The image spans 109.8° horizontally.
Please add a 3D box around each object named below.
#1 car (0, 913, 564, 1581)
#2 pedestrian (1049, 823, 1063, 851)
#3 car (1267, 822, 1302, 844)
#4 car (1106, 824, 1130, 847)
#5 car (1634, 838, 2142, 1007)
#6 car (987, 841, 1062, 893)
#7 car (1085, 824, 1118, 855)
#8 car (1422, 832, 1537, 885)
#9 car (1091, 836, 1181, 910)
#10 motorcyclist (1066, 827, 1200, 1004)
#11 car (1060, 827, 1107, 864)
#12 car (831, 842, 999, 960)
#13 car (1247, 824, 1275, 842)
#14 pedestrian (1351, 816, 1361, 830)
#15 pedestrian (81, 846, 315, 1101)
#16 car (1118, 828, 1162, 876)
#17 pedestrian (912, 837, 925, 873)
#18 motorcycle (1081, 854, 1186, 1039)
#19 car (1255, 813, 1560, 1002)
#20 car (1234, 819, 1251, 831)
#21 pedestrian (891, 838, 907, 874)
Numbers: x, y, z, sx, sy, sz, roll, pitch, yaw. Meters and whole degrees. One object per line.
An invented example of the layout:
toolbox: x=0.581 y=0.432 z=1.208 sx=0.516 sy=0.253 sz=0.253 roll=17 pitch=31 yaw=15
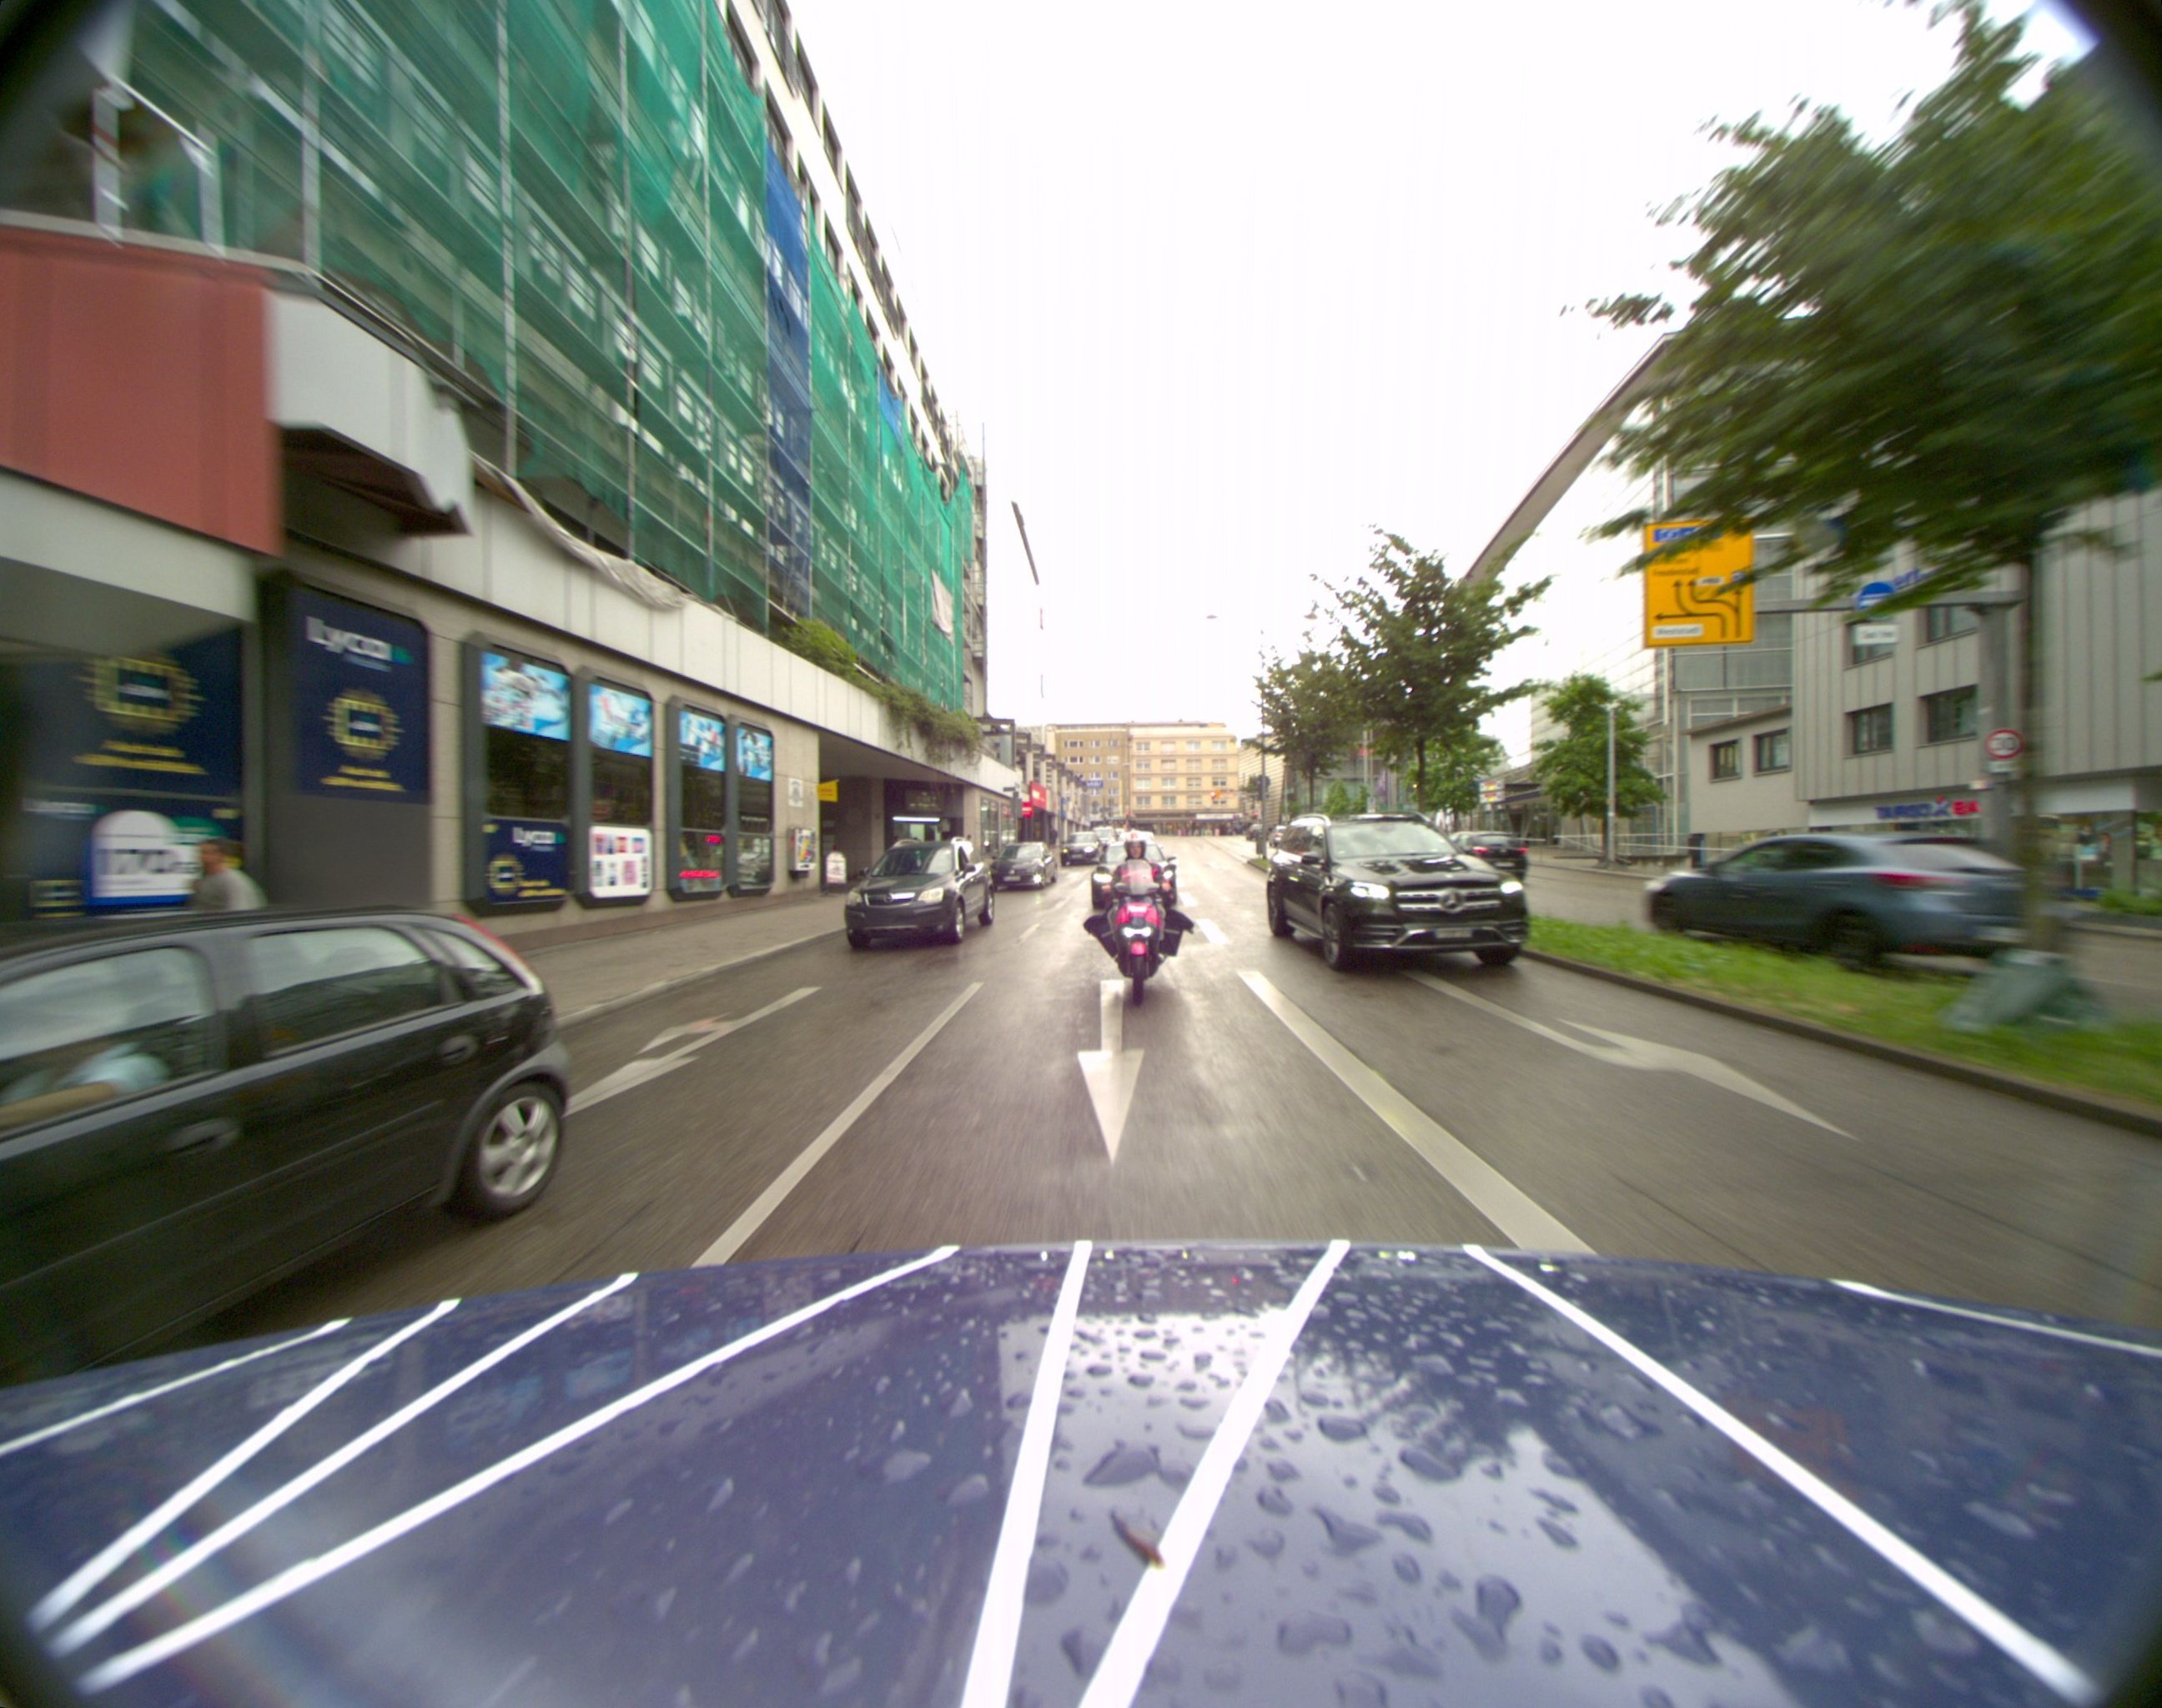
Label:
car: x=-3.348 y=1.008 z=1.848 sx=1.596 sy=1.432 sz=3.628 roll=-1 pitch=0 yaw=2
pedestrian: x=-1.662 y=-1.150 z=50.597 sx=0.707 sy=1.771 sz=0.640 roll=4 pitch=8 yaw=5
car: x=14.425 y=-1.530 z=54.030 sx=1.628 sy=1.430 sz=3.646 roll=0 pitch=3 yaw=3
car: x=3.029 y=-1.494 z=61.065 sx=1.831 sy=1.727 sz=3.999 roll=0 pitch=3 yaw=4
car: x=8.707 y=0.576 z=8.839 sx=1.717 sy=1.470 sz=3.957 roll=1 pitch=2 yaw=2
car: x=-1.764 y=0.369 z=24.975 sx=1.681 sy=1.422 sz=3.777 roll=-2 pitch=3 yaw=7
car: x=1.279 y=-0.939 z=46.203 sx=1.831 sy=1.727 sz=3.999 roll=0 pitch=3 yaw=4
car: x=12.254 y=0.089 z=23.654 sx=1.622 sy=1.483 sz=3.879 roll=1 pitch=1 yaw=2
car: x=1.373 y=0.378 z=18.923 sx=1.937 sy=1.511 sz=4.468 roll=-1 pitch=2 yaw=4
motorcyclist: x=0.562 y=0.626 z=8.207 sx=1.296 sy=1.757 sz=0.845 roll=-3 pitch=3 yaw=3
car: x=0.176 y=-0.452 z=38.077 sx=1.776 sy=1.575 sz=4.000 roll=-3 pitch=3 yaw=8
car: x=-2.726 y=0.677 z=13.524 sx=1.735 sy=1.669 sz=4.248 roll=-2 pitch=2 yaw=4
car: x=16.630 y=-1.951 z=70.443 sx=1.997 sy=1.501 sz=4.185 roll=-1 pitch=3 yaw=6
pedestrian: x=37.936 y=-4.234 z=104.747 sx=0.985 sy=1.888 sz=0.739 roll=-4 pitch=3 yaw=-13
pedestrian: x=-6.816 y=0.866 z=5.912 sx=0.897 sy=1.770 sz=0.805 roll=4 pitch=3 yaw=6
car: x=2.308 y=-0.125 z=30.109 sx=1.631 sy=1.732 sz=3.599 roll=0 pitch=3 yaw=4
pedestrian: x=-6.823 y=0.034 z=31.936 sx=0.429 sy=1.481 sz=0.524 roll=0 pitch=4 yaw=-2
motorcycle: x=0.526 y=0.783 z=7.826 sx=0.831 sy=1.479 sz=2.865 roll=-2 pitch=1 yaw=3
car: x=3.757 y=0.419 z=9.884 sx=1.998 sy=1.768 sz=4.884 roll=-3 pitch=3 yaw=2
car: x=29.336 y=-5.228 z=138.072 sx=1.999 sy=2.003 sz=3.997 roll=-3 pitch=3 yaw=-3
pedestrian: x=-7.755 y=0.069 z=32.383 sx=0.525 sy=1.481 sz=0.428 roll=-2 pitch=4 yaw=-28
